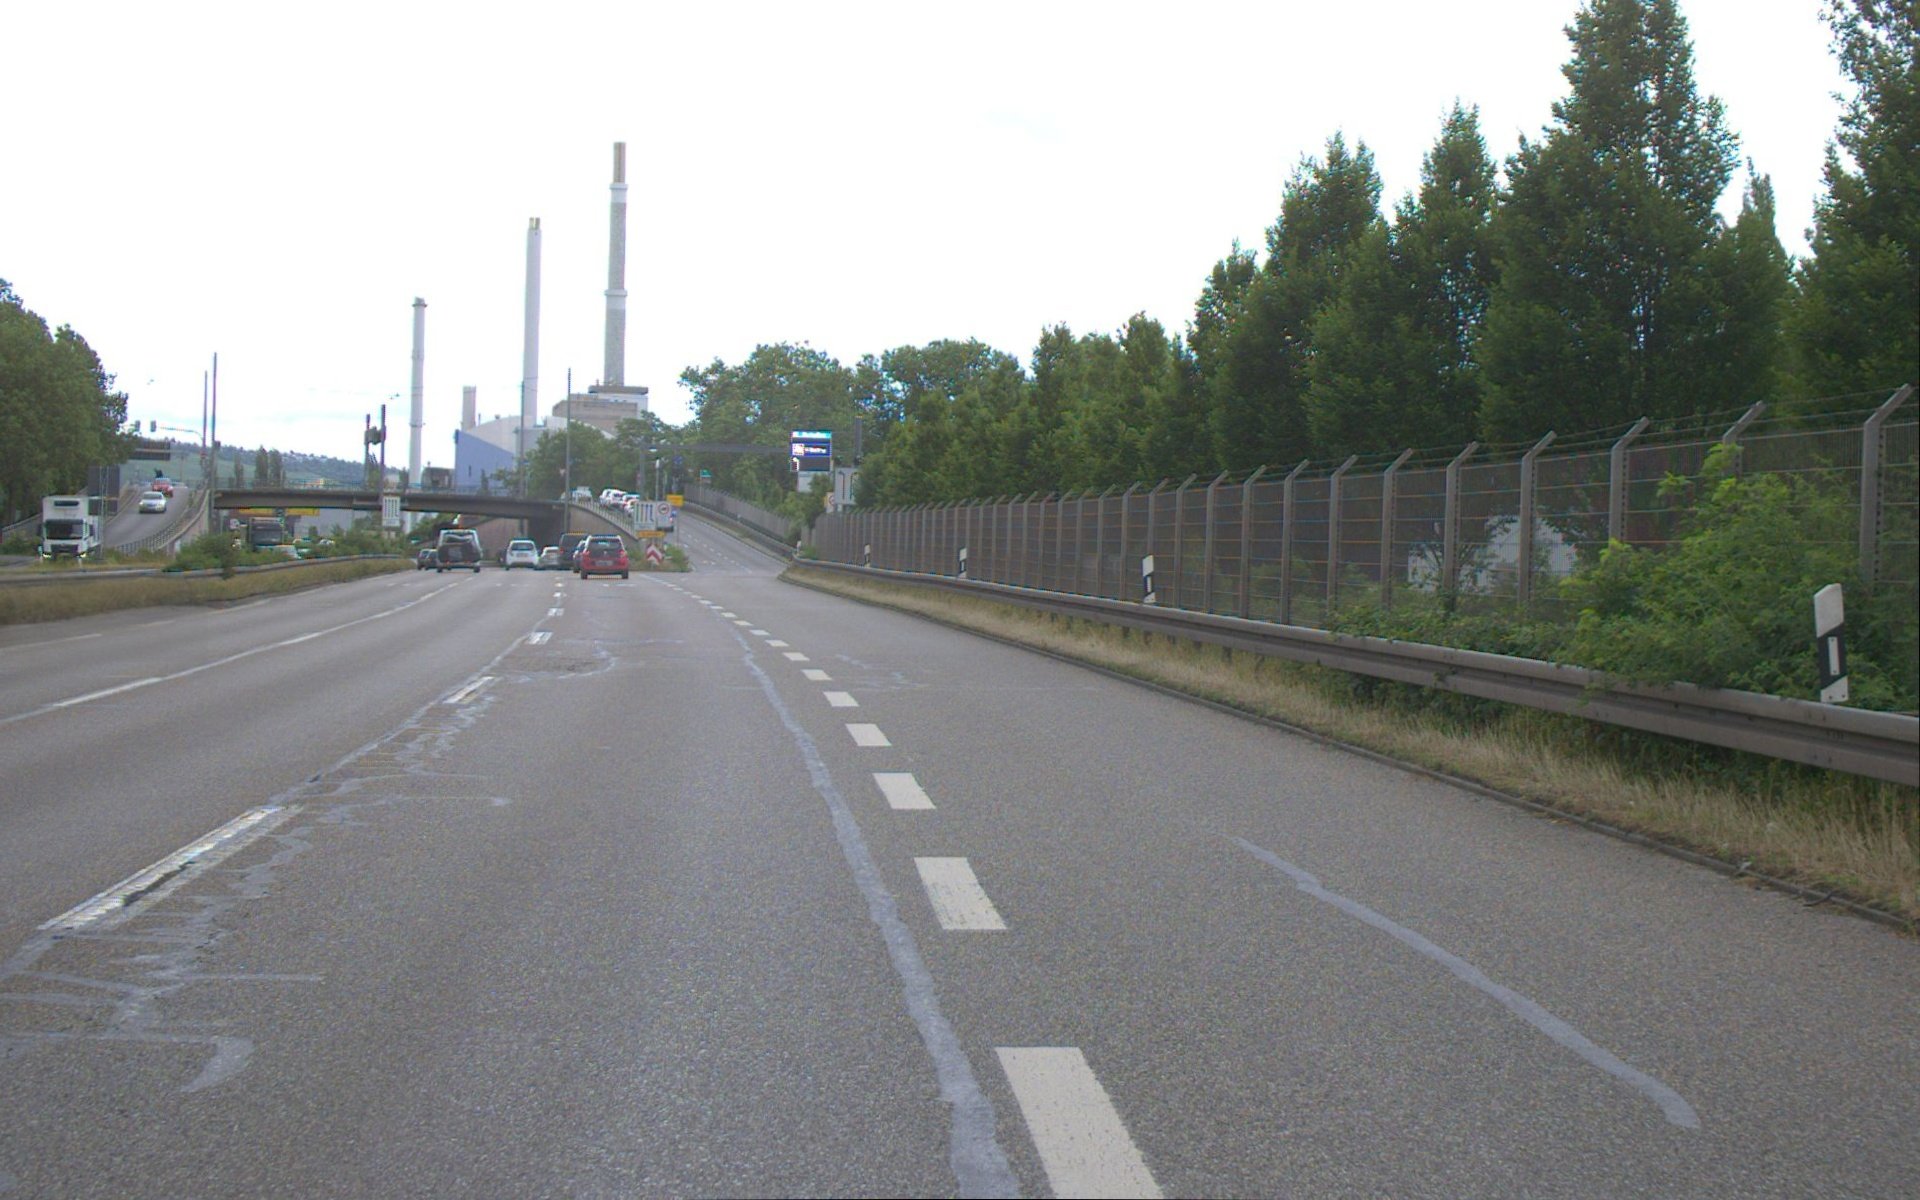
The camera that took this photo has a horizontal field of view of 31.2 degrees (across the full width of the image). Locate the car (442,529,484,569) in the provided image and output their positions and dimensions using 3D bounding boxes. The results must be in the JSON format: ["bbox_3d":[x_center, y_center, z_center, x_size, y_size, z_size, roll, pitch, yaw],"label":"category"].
[{"bbox_3d":[-21.762,-2.251,150.504,1.697,1.736,4.001,0,1,-10],"label":"car"}]

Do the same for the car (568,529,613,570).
[{"bbox_3d":[-15.956,-2.176,148.361,1.697,1.736,4.394,0,1,-9],"label":"car"}]

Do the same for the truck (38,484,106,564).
[{"bbox_3d":[-49.674,-4.288,192.548,2.888,4.151,14.664,2,1,-12],"label":"truck"}]

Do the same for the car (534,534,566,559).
[{"bbox_3d":[-25.243,-3.296,211.660,1.697,1.550,4.399,0,1,-11],"label":"car"}]

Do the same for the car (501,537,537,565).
[{"bbox_3d":[-22.238,-2.492,173.130,1.697,1.385,4.399,0,1,-9],"label":"car"}]

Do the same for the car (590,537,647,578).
[{"bbox_3d":[-12.191,-1.540,122.858,1.974,1.418,4.901,0,1,-6],"label":"car"}]

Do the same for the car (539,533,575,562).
[{"bbox_3d":[-21.876,-2.852,186.639,1.697,1.550,4.399,0,1,-10],"label":"car"}]
